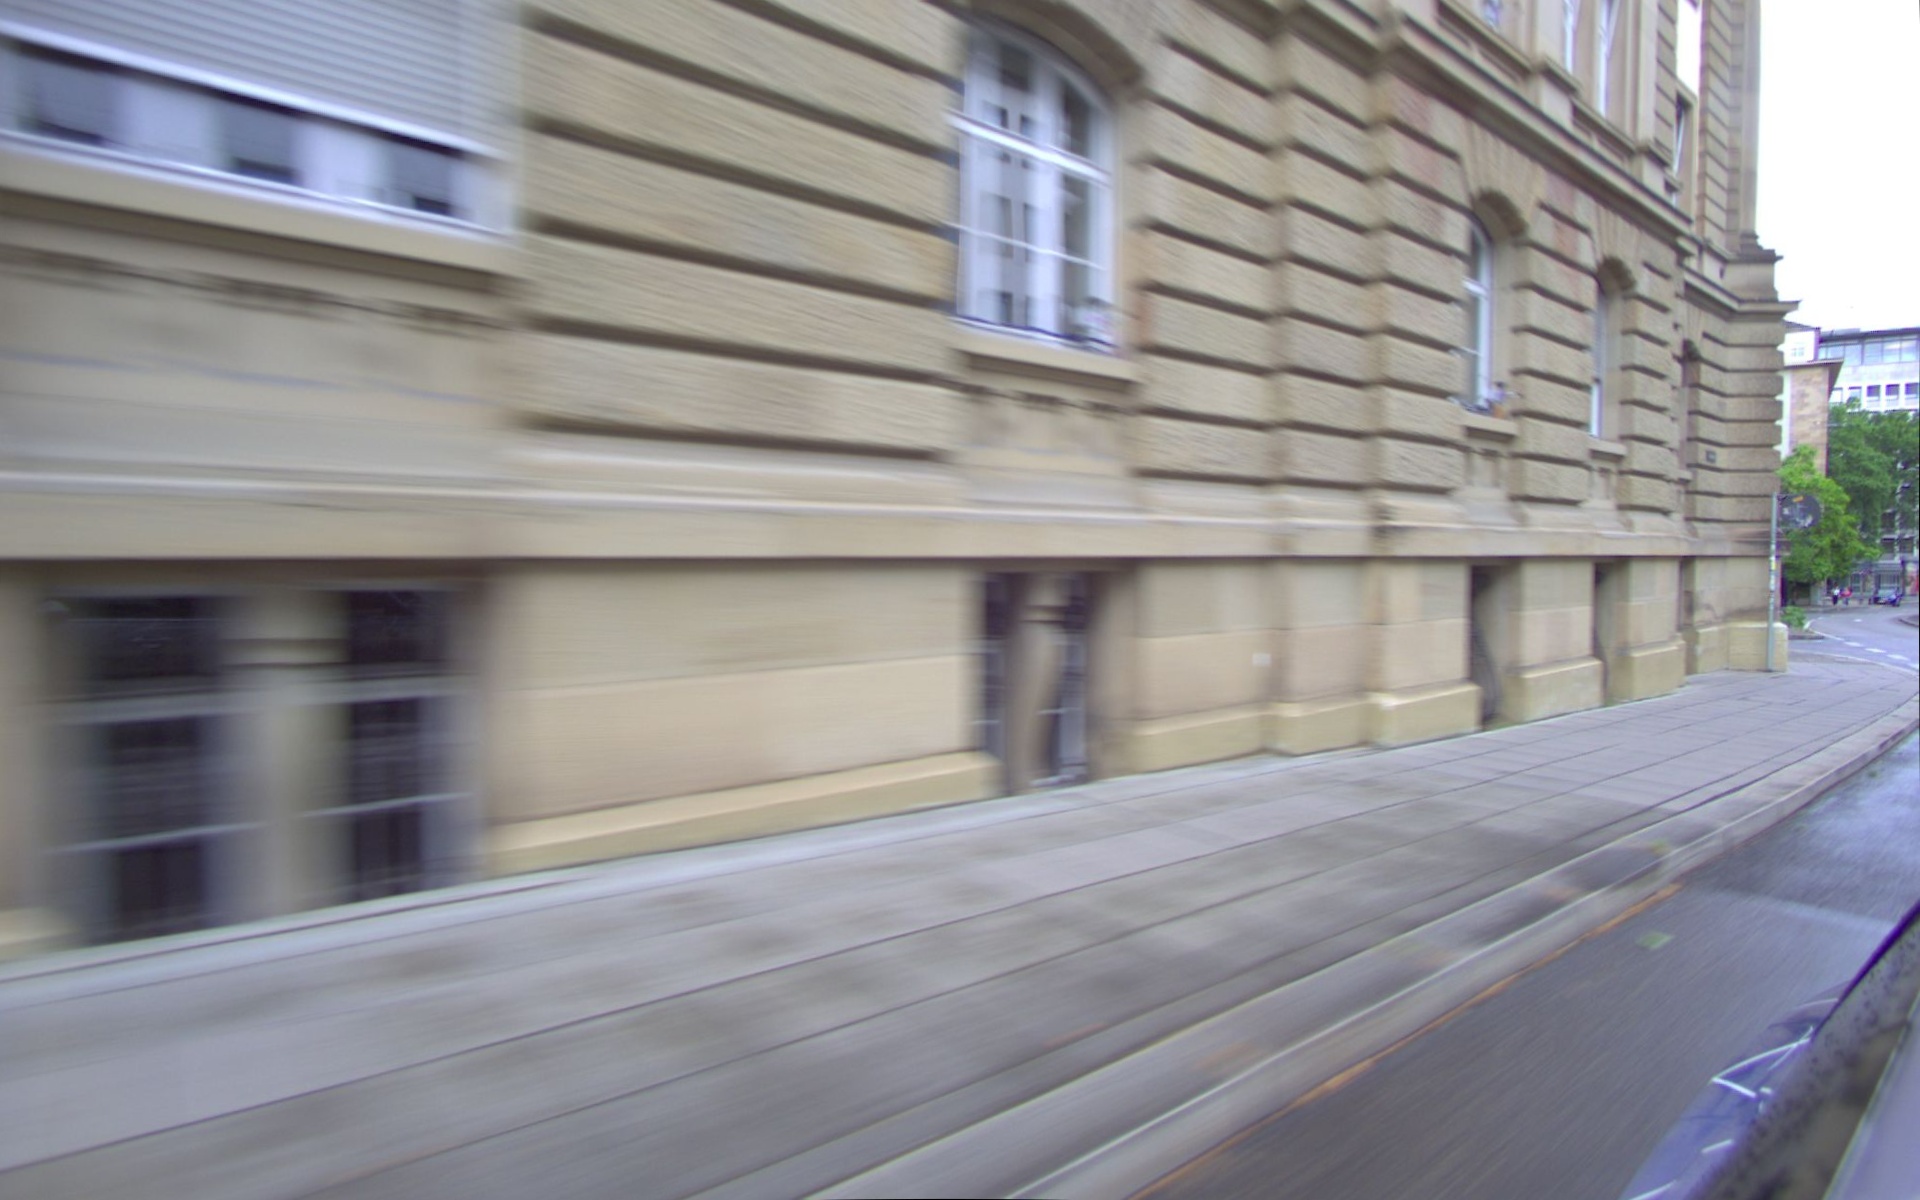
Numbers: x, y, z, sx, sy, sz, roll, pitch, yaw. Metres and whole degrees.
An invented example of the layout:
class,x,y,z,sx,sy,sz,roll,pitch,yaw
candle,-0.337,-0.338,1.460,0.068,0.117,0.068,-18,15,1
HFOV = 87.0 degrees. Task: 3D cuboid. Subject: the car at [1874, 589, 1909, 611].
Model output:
class,x,y,z,sx,sy,sz,roll,pitch,yaw
car,84.305,0.003,91.629,1.989,1.838,3.946,1,2,38
